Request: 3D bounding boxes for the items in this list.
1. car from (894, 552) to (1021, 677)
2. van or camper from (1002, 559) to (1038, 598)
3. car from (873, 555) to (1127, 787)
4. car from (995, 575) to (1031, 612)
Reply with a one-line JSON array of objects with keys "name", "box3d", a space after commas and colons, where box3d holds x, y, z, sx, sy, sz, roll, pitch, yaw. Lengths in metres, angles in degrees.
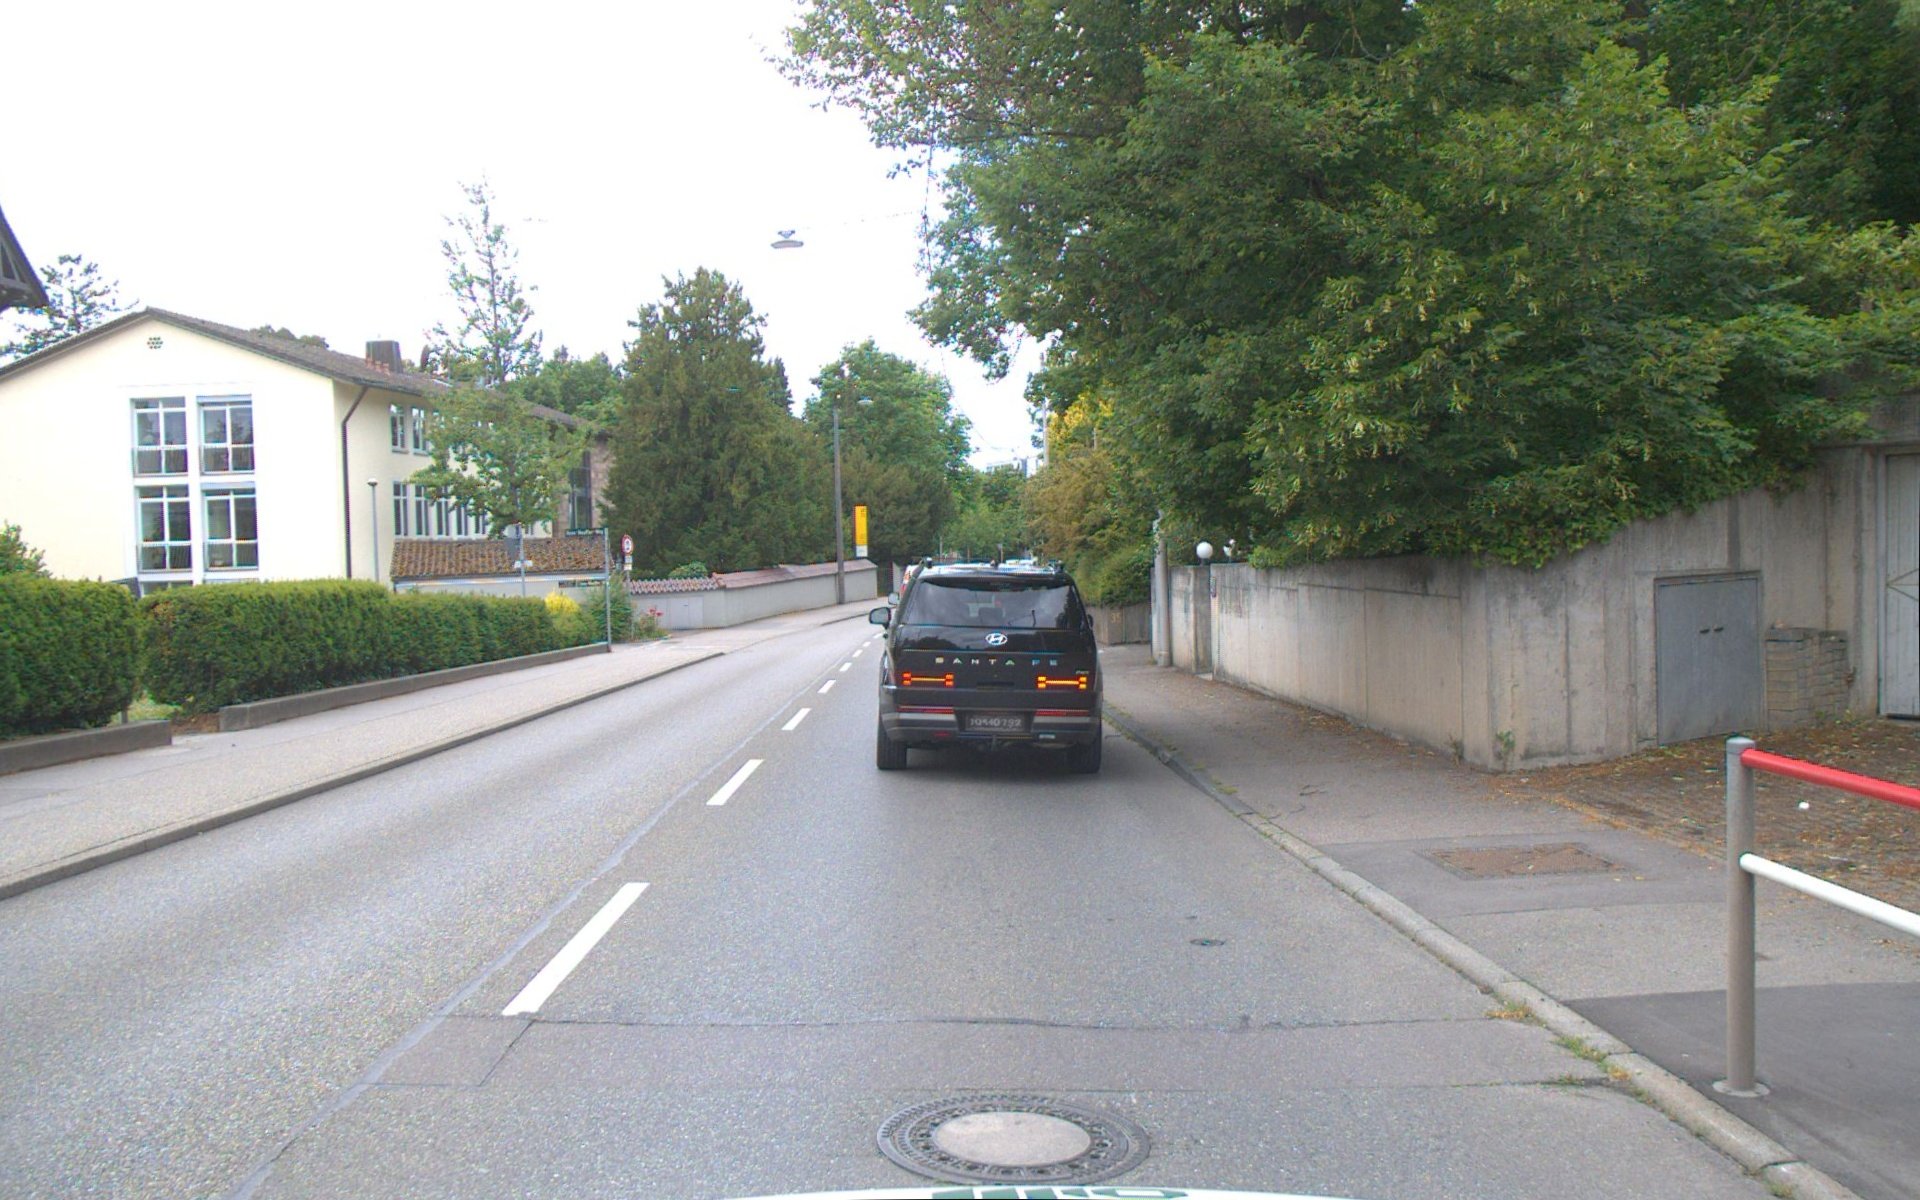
[{"name": "car", "box3d": [0.039, 0.175, 29.496, 1.916, 1.989, 4.226, 1, 2, 4]}, {"name": "van or camper", "box3d": [3.381, -1.226, 92.550, 1.640, 2.042, 3.942, -2, 2, 7]}, {"name": "car", "box3d": [0.272, 0.518, 14.797, 1.917, 1.742, 4.222, 1, 1, -1]}, {"name": "car", "box3d": [2.538, -0.334, 78.883, 1.641, 1.446, 3.941, -2, 4, 2]}]
